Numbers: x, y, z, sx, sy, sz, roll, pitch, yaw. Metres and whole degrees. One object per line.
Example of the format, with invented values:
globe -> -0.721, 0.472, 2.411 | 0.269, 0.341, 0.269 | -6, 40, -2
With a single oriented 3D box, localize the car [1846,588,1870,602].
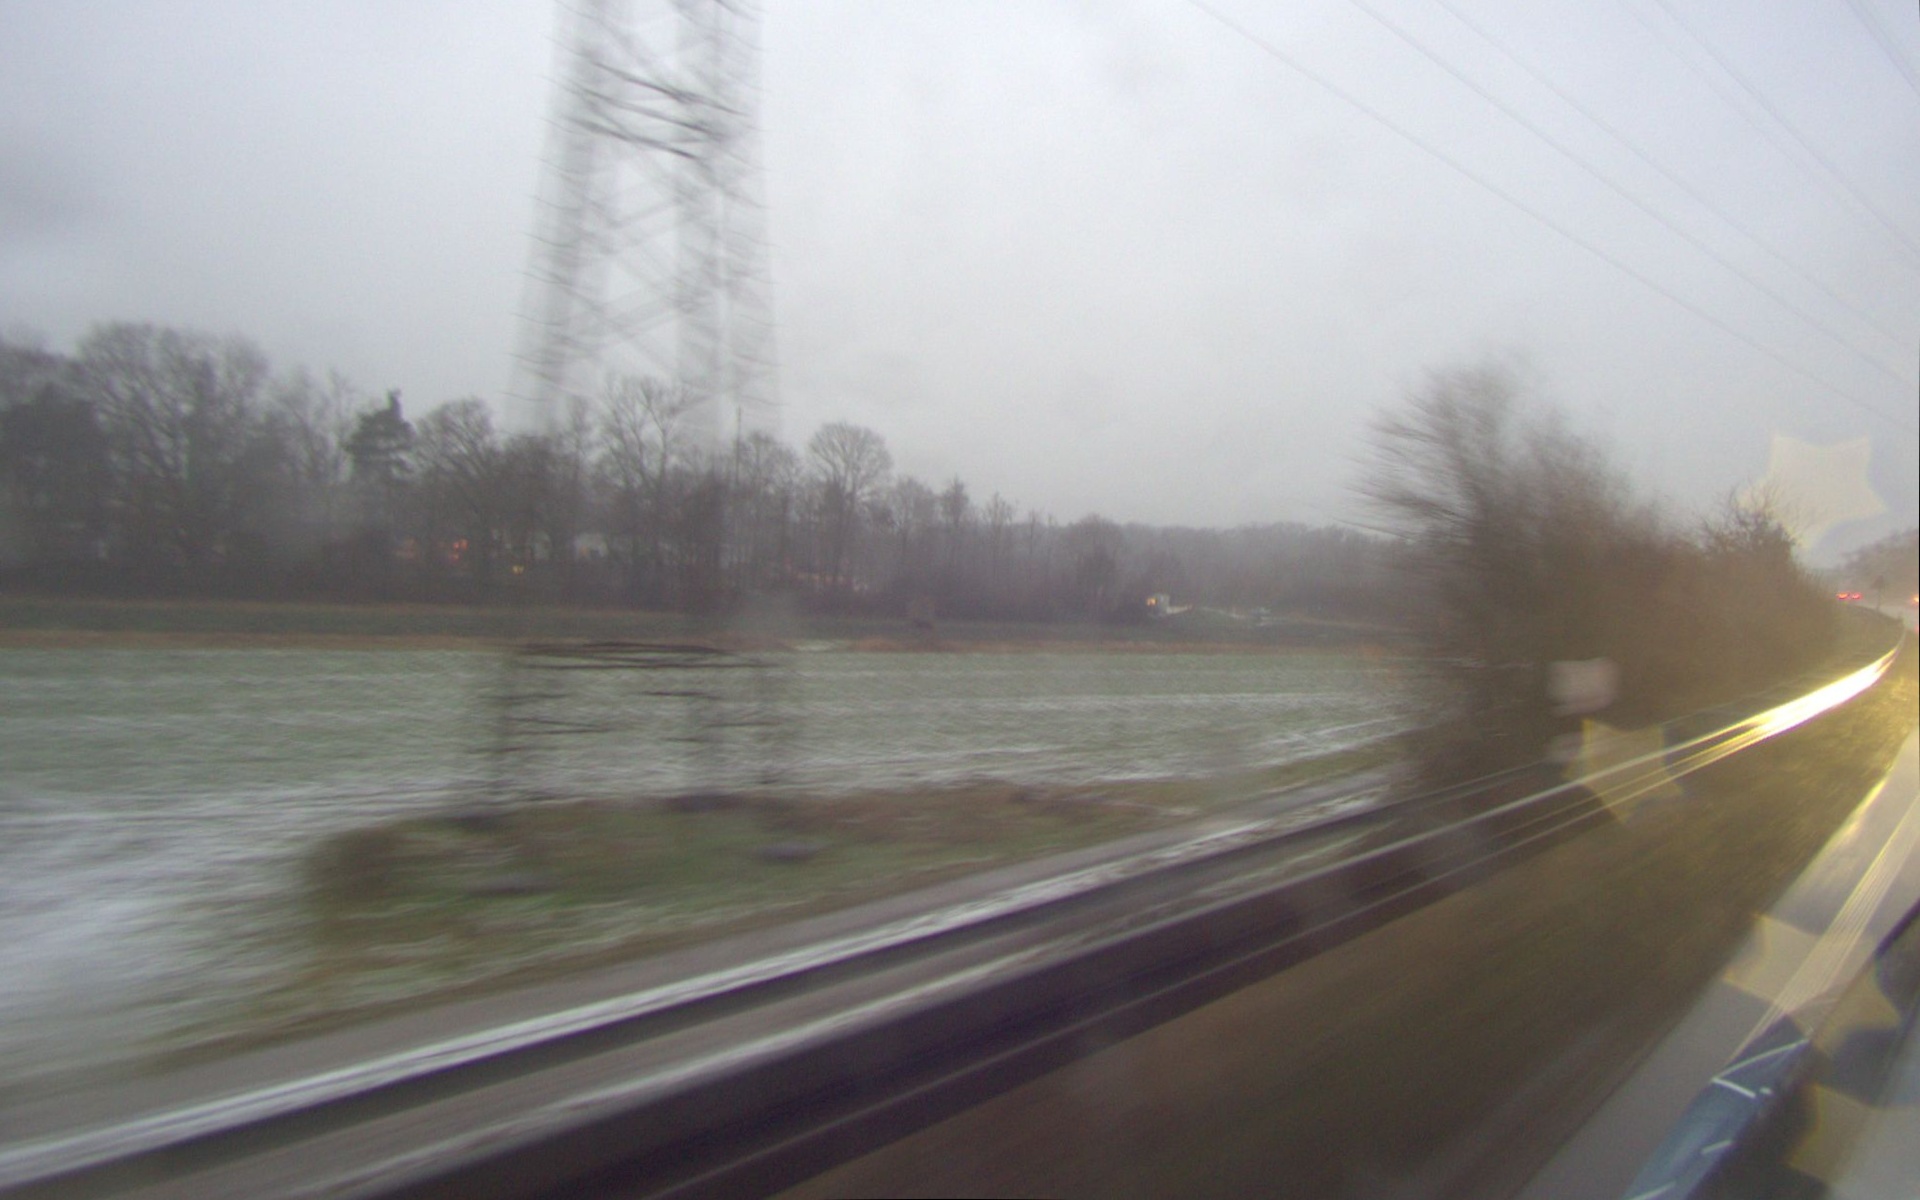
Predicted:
car -> 107.085, -0.661, 120.752 | 1.884, 1.609, 4.322 | 0, 1, 38
